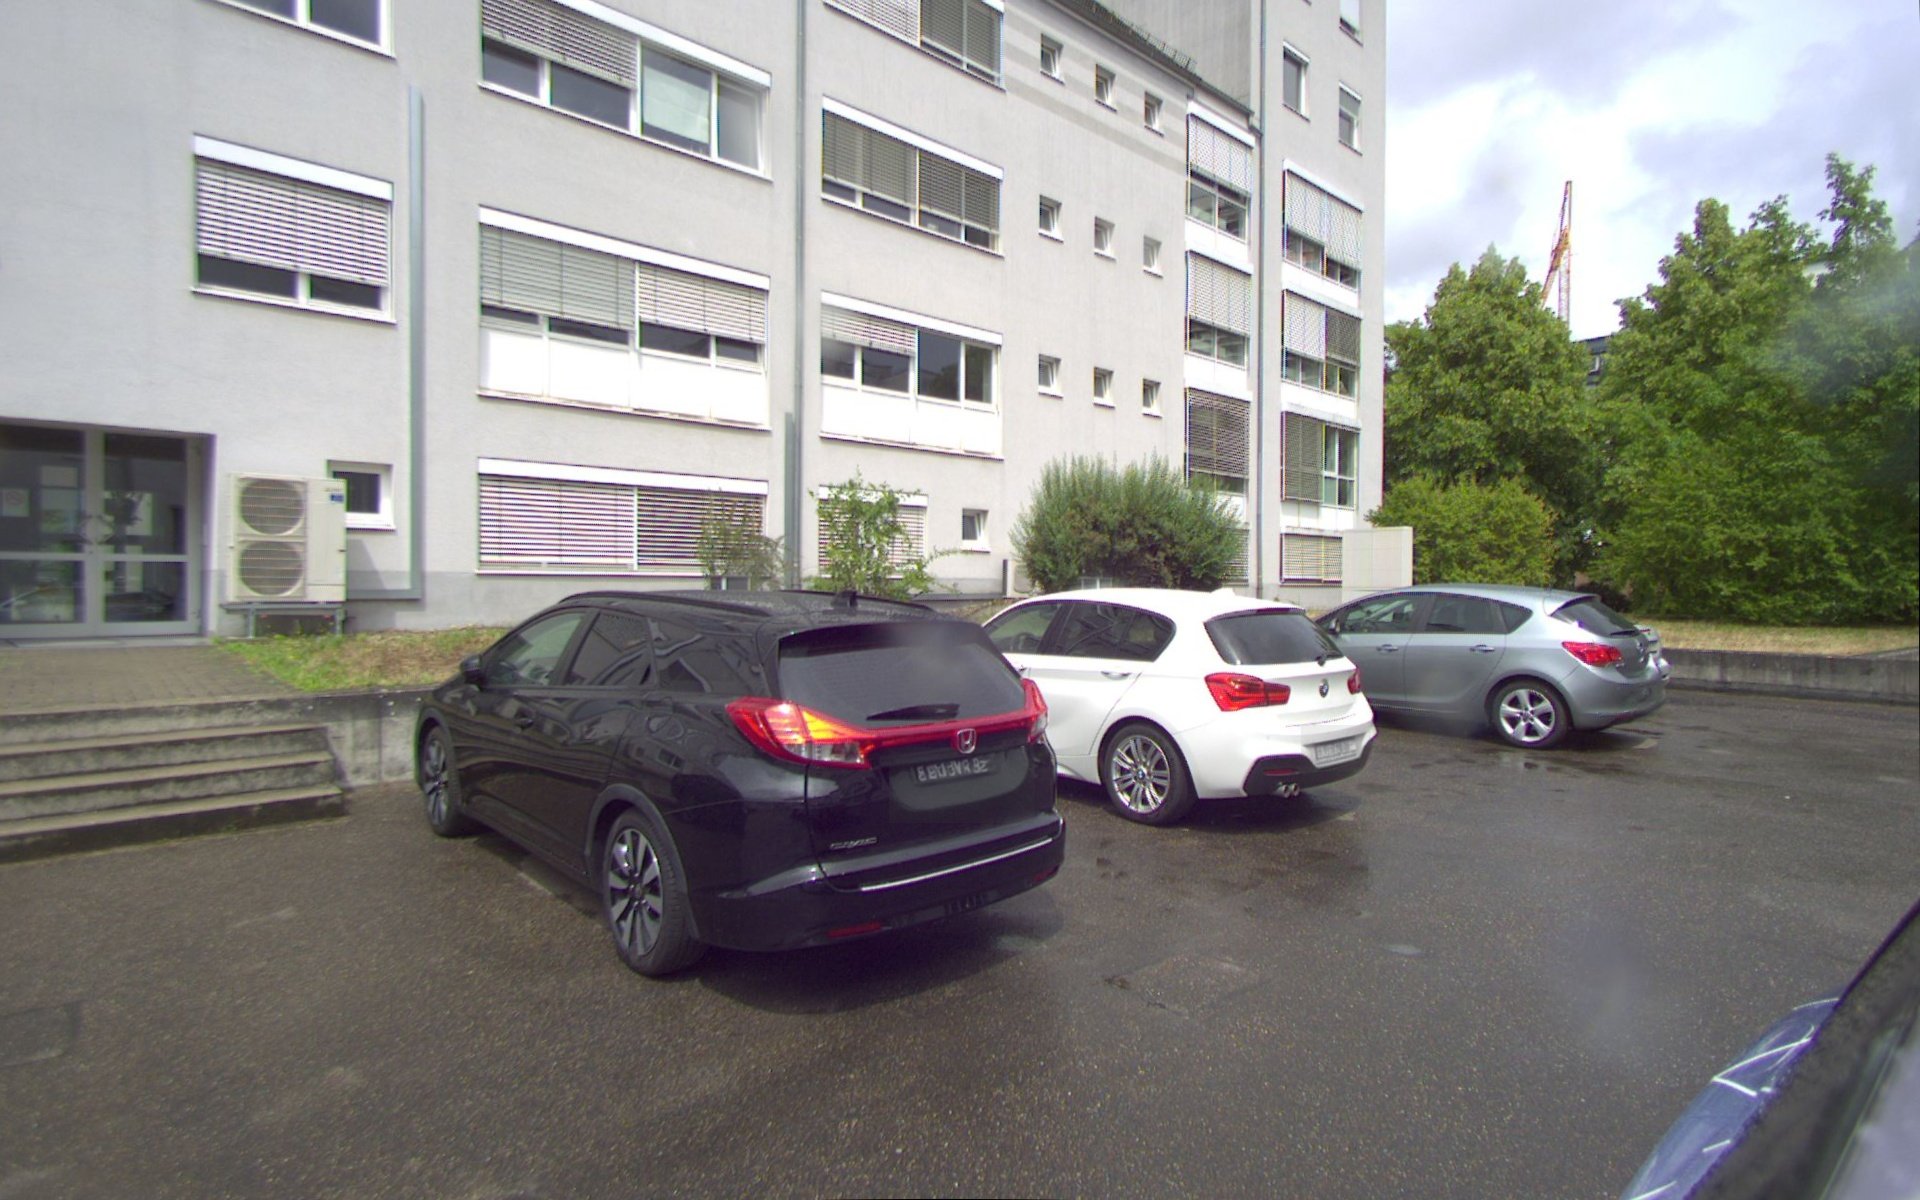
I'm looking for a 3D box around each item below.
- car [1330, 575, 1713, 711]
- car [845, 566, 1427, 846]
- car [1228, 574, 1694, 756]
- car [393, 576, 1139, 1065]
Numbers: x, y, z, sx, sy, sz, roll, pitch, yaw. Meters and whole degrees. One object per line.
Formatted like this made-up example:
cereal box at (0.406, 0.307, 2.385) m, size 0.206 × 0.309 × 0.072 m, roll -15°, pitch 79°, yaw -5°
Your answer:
car at (7.149, 0.425, 13.268) m, size 1.758 × 1.371 × 4.000 m, roll -1°, pitch 3°, yaw -37°
car at (1.035, 0.508, 7.593) m, size 1.801 × 1.473 × 4.106 m, roll -1°, pitch 2°, yaw -40°
car at (5.015, 0.493, 10.623) m, size 1.639 × 1.476 × 4.089 m, roll -2°, pitch 3°, yaw -40°
car at (-1.334, 0.617, 5.250) m, size 1.907 × 1.418 × 4.175 m, roll -1°, pitch 3°, yaw -43°
